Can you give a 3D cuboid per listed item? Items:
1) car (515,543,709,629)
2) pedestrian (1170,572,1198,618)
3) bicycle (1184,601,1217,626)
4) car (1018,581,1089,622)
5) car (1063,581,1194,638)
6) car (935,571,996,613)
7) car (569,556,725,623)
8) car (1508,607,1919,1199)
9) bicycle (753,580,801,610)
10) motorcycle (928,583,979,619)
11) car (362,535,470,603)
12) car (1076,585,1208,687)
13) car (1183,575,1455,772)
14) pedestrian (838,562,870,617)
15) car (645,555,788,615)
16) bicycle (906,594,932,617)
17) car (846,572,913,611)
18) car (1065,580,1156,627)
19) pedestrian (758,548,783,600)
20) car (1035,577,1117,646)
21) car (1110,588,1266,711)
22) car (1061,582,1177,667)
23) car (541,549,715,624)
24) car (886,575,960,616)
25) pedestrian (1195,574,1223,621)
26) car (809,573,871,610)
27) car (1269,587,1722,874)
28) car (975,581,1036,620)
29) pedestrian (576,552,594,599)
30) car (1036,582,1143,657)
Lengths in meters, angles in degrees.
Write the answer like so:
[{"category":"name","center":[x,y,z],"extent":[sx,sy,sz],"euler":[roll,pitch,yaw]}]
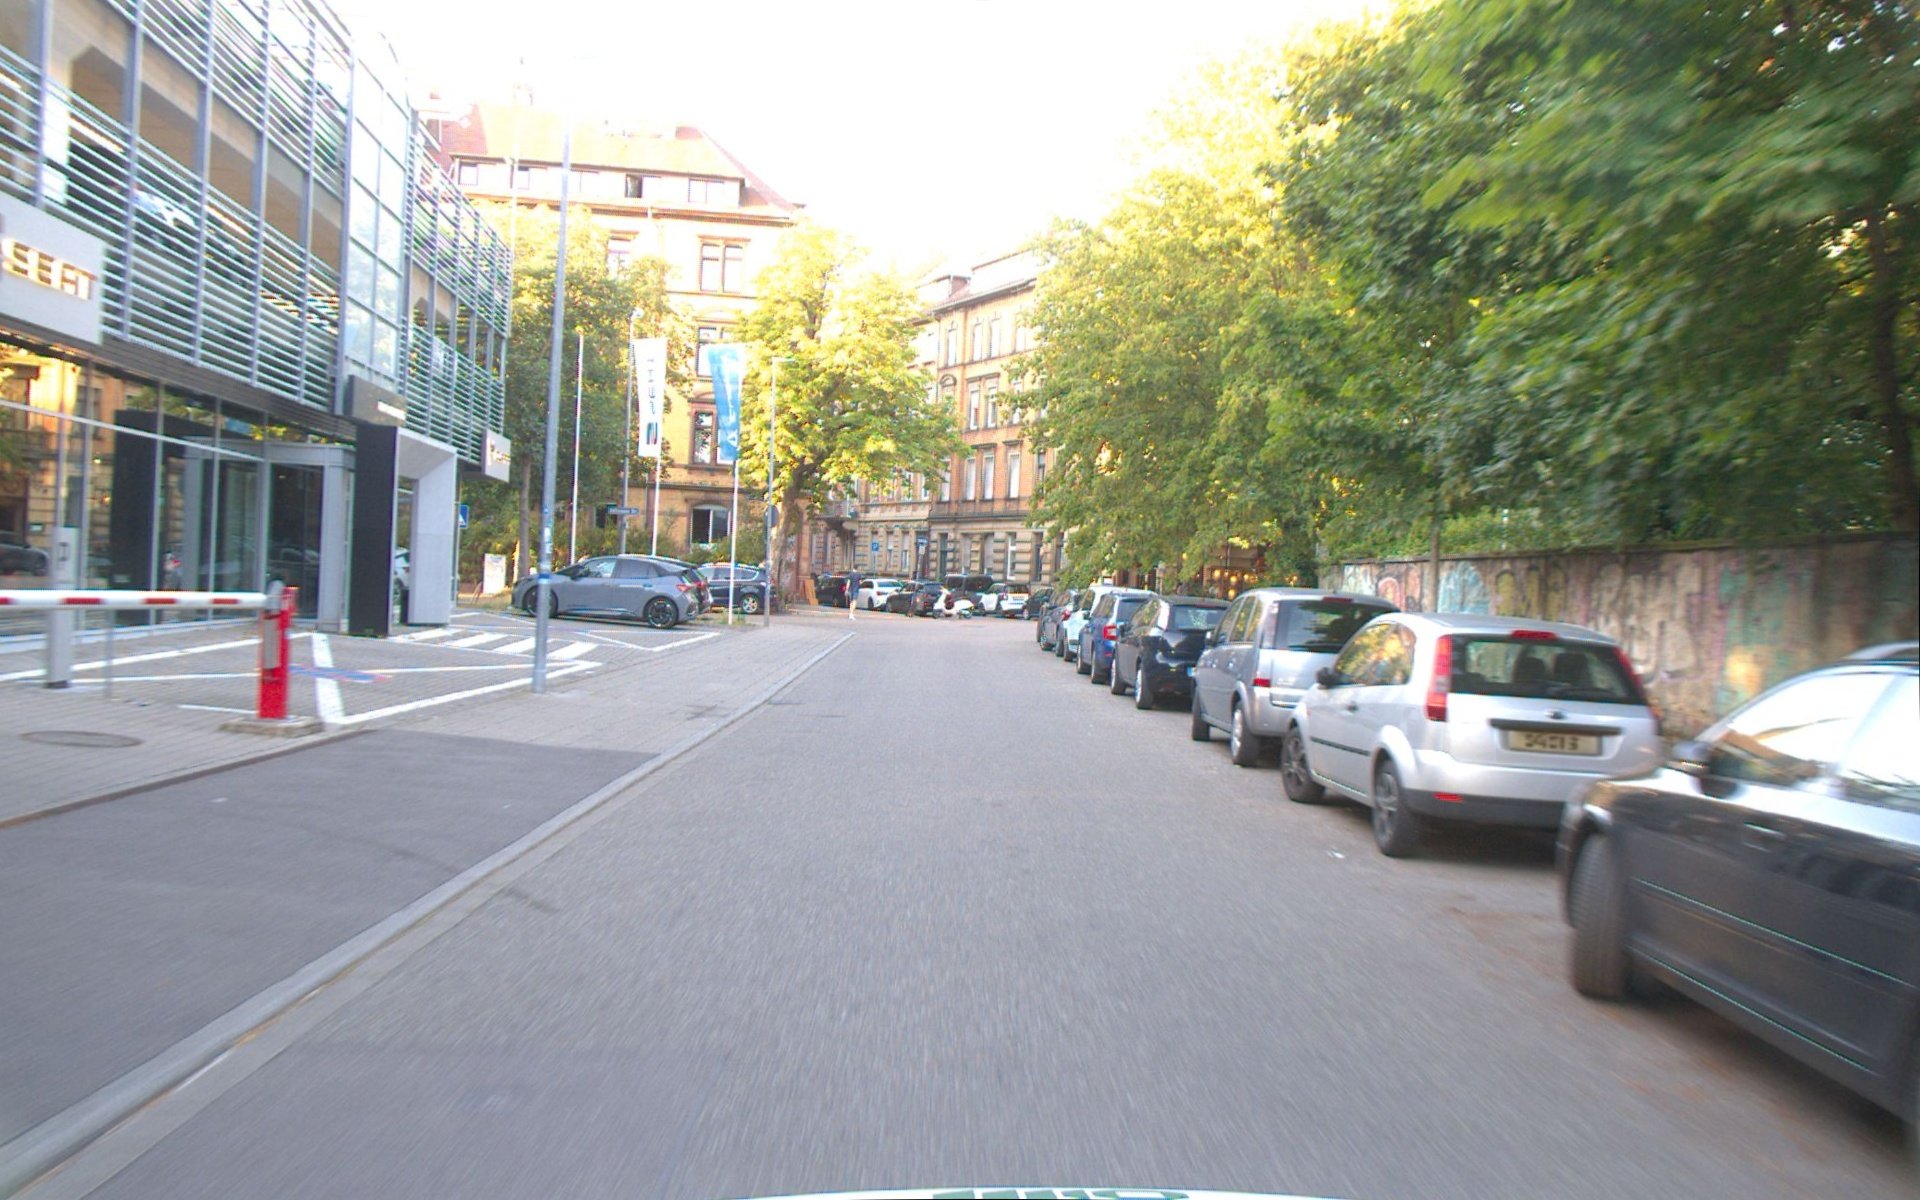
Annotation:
[{"category":"car","center":[-8.011,-0.339,38.358],"extent":[4.048,1.645,1.912],"euler":[4,1,-3]},{"category":"pedestrian","center":[9.242,-0.202,68.280],"extent":[0.828,1.835,0.771],"euler":[2,1,-21]},{"category":"bicycle","center":[9.404,0.529,64.748],"extent":[0.317,0.930,1.344],"euler":[1,2,-42]},{"category":"car","center":[3.946,0.038,70.359],"extent":[1.653,1.552,3.219],"euler":[2,2,-25]},{"category":"car","center":[5.039,0.295,49.079],"extent":[1.849,1.491,3.947],"euler":[5,2,42]},{"category":"car","center":[0.236,-0.390,77.287],"extent":[1.653,1.813,2.992],"euler":[3,1,-25]},{"category":"car","center":[-8.610,-0.299,45.770],"extent":[3.967,1.500,1.919],"euler":[4,1,-5]},{"category":"car","center":[3.324,0.845,5.030],"extent":[1.724,1.480,4.392],"euler":[4,0,-1]},{"category":"bicycle","center":[-6.637,-0.177,59.912],"extent":[1.650,1.046,0.442],"euler":[2,1,-25]},{"category":"motorcycle","center":[-0.256,0.040,65.453],"extent":[1.897,1.363,0.576],"euler":[2,1,-12]},{"category":"car","center":[-13.939,-0.797,42.588],"extent":[1.669,1.577,4.219],"euler":[3,1,-6]},{"category":"car","center":[2.994,0.548,27.911],"extent":[1.660,1.502,4.116],"euler":[2,1,-1]},{"category":"car","center":[3.371,0.613,16.259],"extent":[1.723,1.632,3.873],"euler":[2,1,-1]},{"category":"pedestrian","center":[-3.633,-0.365,56.448],"extent":[0.724,1.835,1.115],"euler":[2,1,-21]},{"category":"car","center":[-8.391,-0.531,57.248],"extent":[4.738,1.762,1.918],"euler":[3,2,-7]},{"category":"bicycle","center":[-1.562,0.193,63.319],"extent":[0.416,0.836,1.462],"euler":[3,2,21]},{"category":"car","center":[-3.587,-0.413,73.074],"extent":[1.632,1.455,4.139],"euler":[3,2,-23]},{"category":"car","center":[5.939,0.123,65.850],"extent":[1.890,1.552,3.867],"euler":[3,2,-25]},{"category":"pedestrian","center":[-6.950,-0.963,60.730],"extent":[0.799,1.884,0.802],"euler":[2,1,-5]},{"category":"car","center":[2.908,0.258,42.232],"extent":[1.661,1.598,3.970],"euler":[2,1,-2]},{"category":"car","center":[3.111,0.623,23.222],"extent":[1.564,1.502,3.773],"euler":[2,1,-1]},{"category":"car","center":[3.087,0.443,32.793],"extent":[1.662,1.502,3.557],"euler":[2,1,-4]},{"category":"car","center":[-8.240,-0.355,41.339],"extent":[3.986,1.646,1.765],"euler":[2,2,-3]},{"category":"car","center":[-1.564,-0.203,68.650],"extent":[1.633,1.455,3.961],"euler":[3,2,-24]},{"category":"pedestrian","center":[9.994,-0.113,66.361],"extent":[0.760,1.835,0.840],"euler":[2,1,-16]},{"category":"car","center":[-5.658,-0.412,77.536],"extent":[1.633,1.455,3.867],"euler":[3,2,-25]},{"category":"car","center":[3.378,0.720,11.251],"extent":[1.723,1.466,3.873],"euler":[2,2,-1]},{"category":"car","center":[2.011,-0.008,73.801],"extent":[1.653,1.552,2.746],"euler":[3,1,-25]},{"category":"pedestrian","center":[-13.485,-0.868,59.443],"extent":[0.532,1.663,0.448],"euler":[2,1,-5]},{"category":"car","center":[2.844,0.399,37.198],"extent":[1.662,1.502,4.208],"euler":[2,1,-5]}]
